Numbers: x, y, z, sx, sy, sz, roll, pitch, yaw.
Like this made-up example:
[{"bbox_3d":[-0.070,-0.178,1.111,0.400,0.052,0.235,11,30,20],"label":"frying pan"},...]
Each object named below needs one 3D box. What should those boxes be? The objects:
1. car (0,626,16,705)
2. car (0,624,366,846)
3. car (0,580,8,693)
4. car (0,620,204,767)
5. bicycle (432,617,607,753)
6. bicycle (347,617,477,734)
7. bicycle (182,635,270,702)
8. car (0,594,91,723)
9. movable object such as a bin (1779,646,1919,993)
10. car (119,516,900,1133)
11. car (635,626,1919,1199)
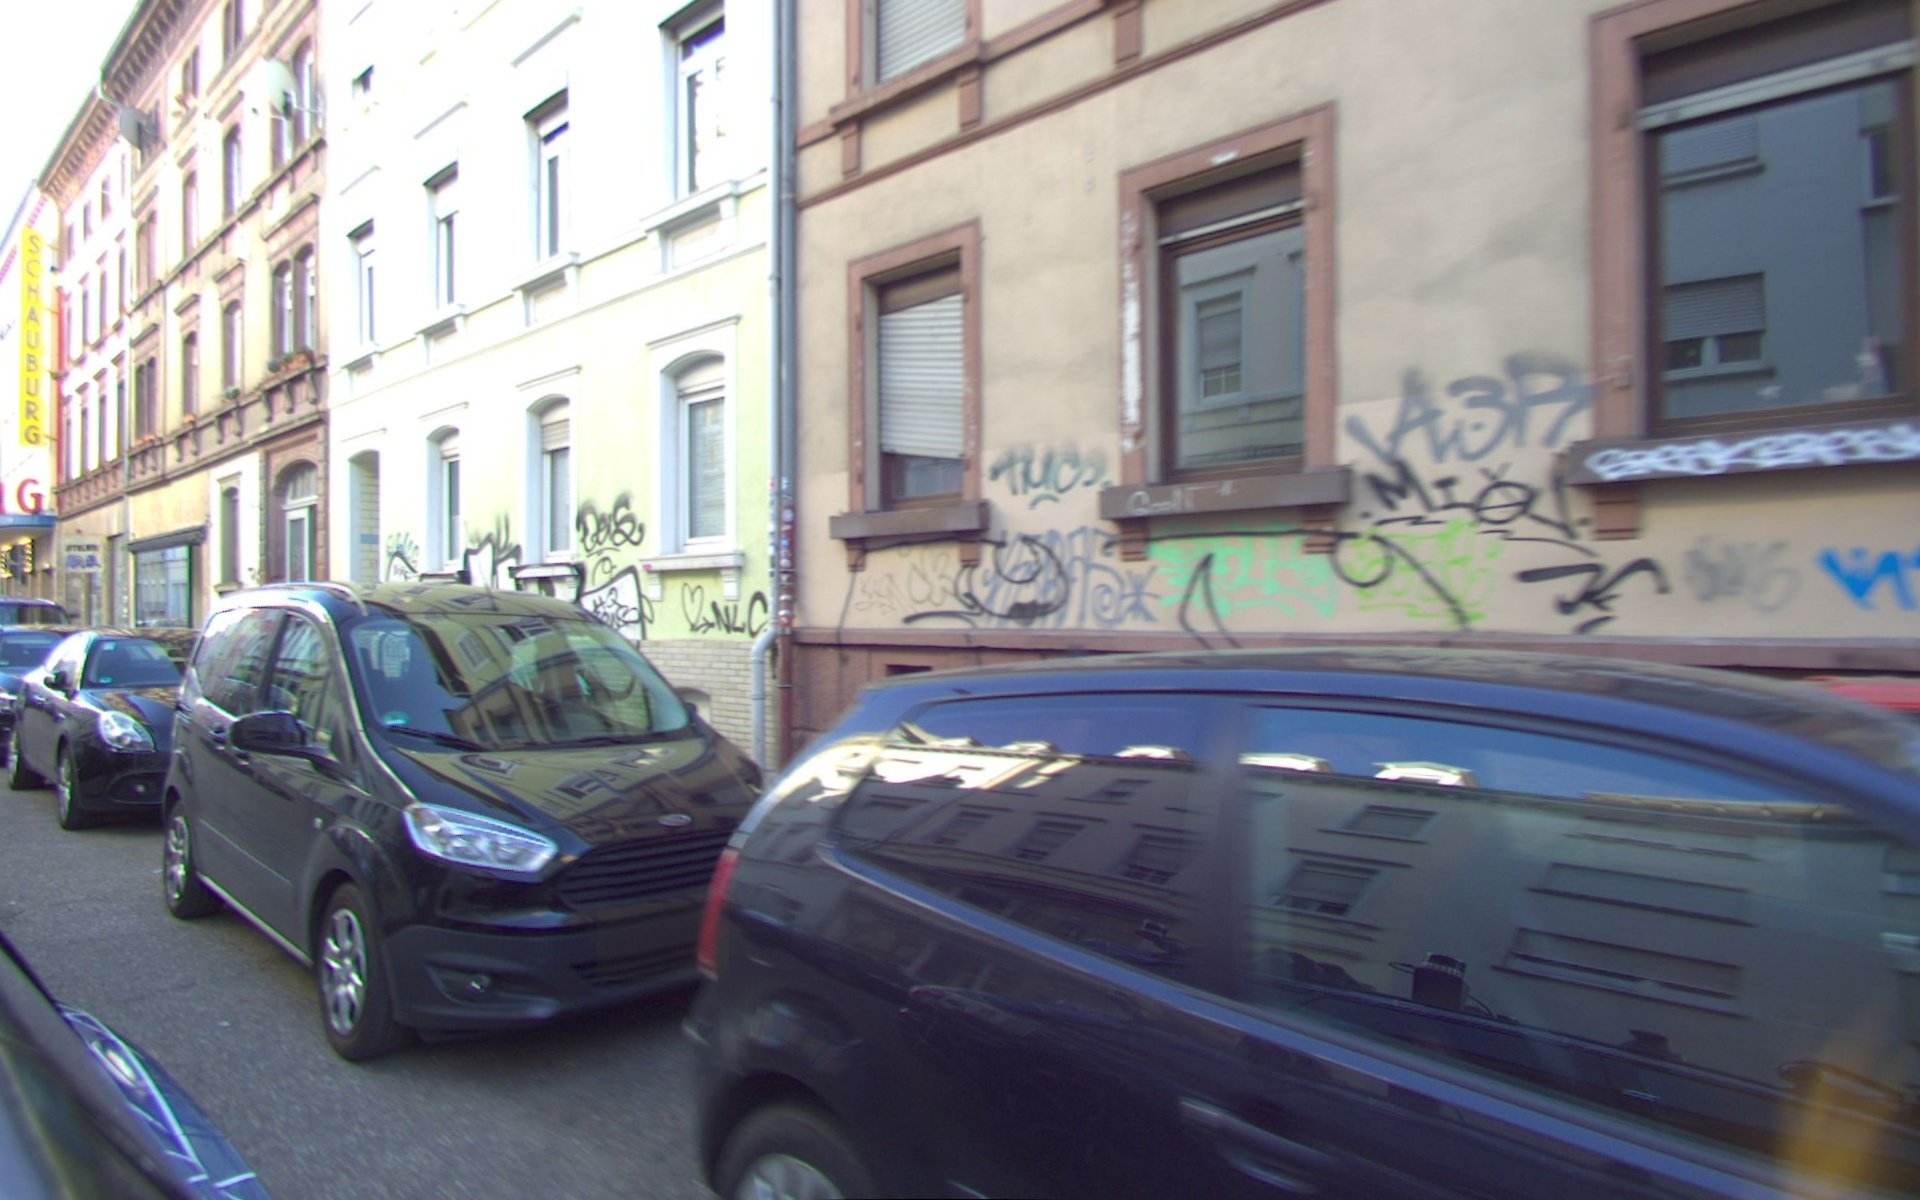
[{"bbox_3d":[-19.650,1.242,19.491,3.835,1.458,1.629,-1,-2,39],"label":"car"},{"bbox_3d":[-6.722,0.932,8.566,3.997,1.438,1.719,-1,-2,41],"label":"car"},{"bbox_3d":[-24.065,0.827,23.427,5.915,2.471,2.146,-1,-3,39],"label":"car"},{"bbox_3d":[-10.832,1.001,12.037,4.639,1.451,1.844,-2,-2,39],"label":"car"},{"bbox_3d":[-4.655,0.838,10.596,2.325,1.255,0.660,-2,1,40],"label":"bicycle"},{"bbox_3d":[-6.575,0.859,12.090,2.085,1.281,0.667,-2,-1,41],"label":"bicycle"},{"bbox_3d":[-12.582,1.140,17.325,2.028,1.028,0.747,-2,2,42],"label":"bicycle"},{"bbox_3d":[-15.833,0.909,16.476,4.610,1.906,1.808,-1,-4,41],"label":"car"},{"bbox_3d":[3.359,0.721,3.501,0.757,1.032,0.781,-2,3,42],"label":"movable object such as a bin"},{"bbox_3d":[-2.359,0.692,4.814,3.997,1.711,1.782,-1,-4,40],"label":"car"},{"bbox_3d":[1.185,0.768,1.554,3.652,1.451,1.575,-2,-2,41],"label":"car"}]
